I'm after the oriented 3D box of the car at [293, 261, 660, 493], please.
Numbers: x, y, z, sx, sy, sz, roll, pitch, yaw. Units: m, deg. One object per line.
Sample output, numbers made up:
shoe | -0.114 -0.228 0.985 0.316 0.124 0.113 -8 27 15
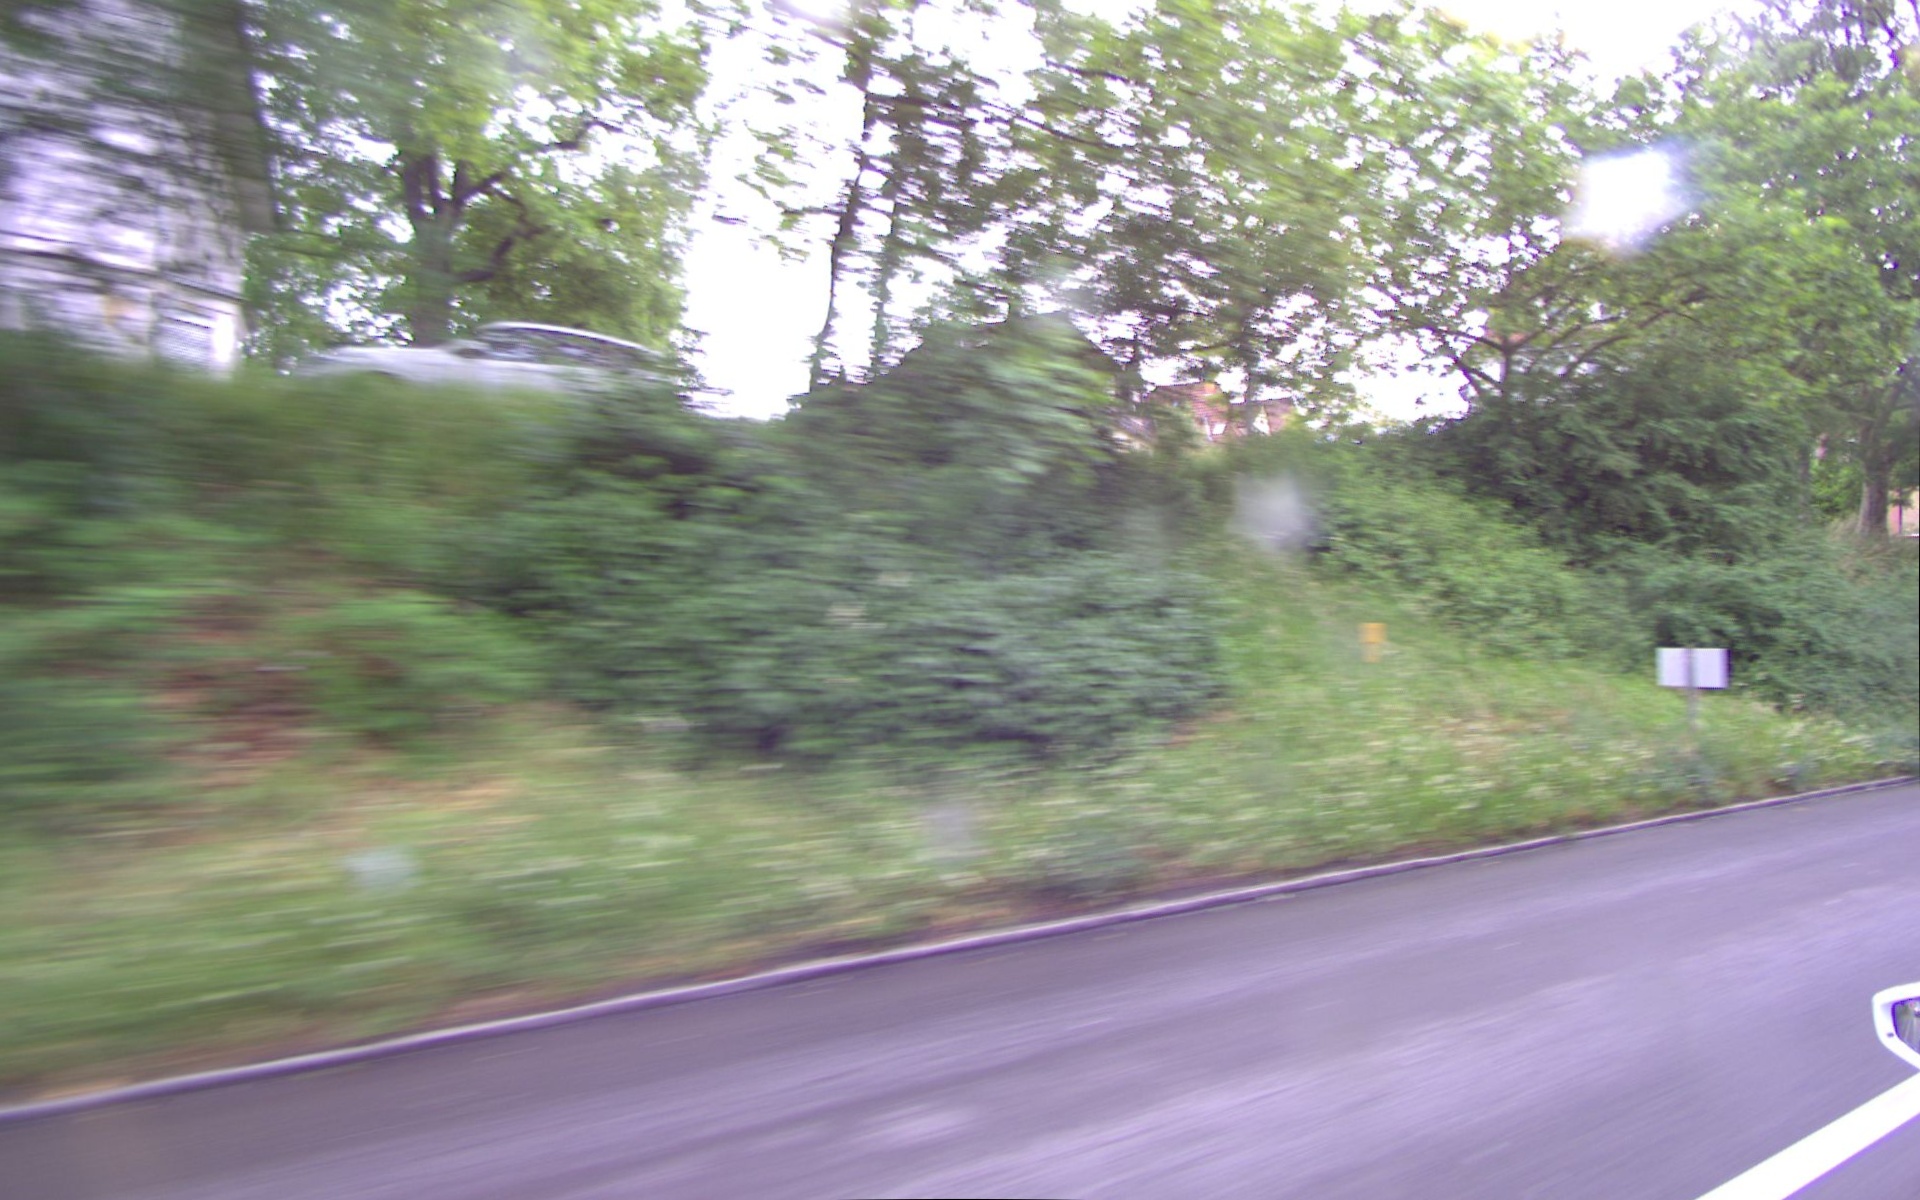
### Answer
car | -6.148 -2.633 12.904 3.961 2.040 1.980 2 0 -35
